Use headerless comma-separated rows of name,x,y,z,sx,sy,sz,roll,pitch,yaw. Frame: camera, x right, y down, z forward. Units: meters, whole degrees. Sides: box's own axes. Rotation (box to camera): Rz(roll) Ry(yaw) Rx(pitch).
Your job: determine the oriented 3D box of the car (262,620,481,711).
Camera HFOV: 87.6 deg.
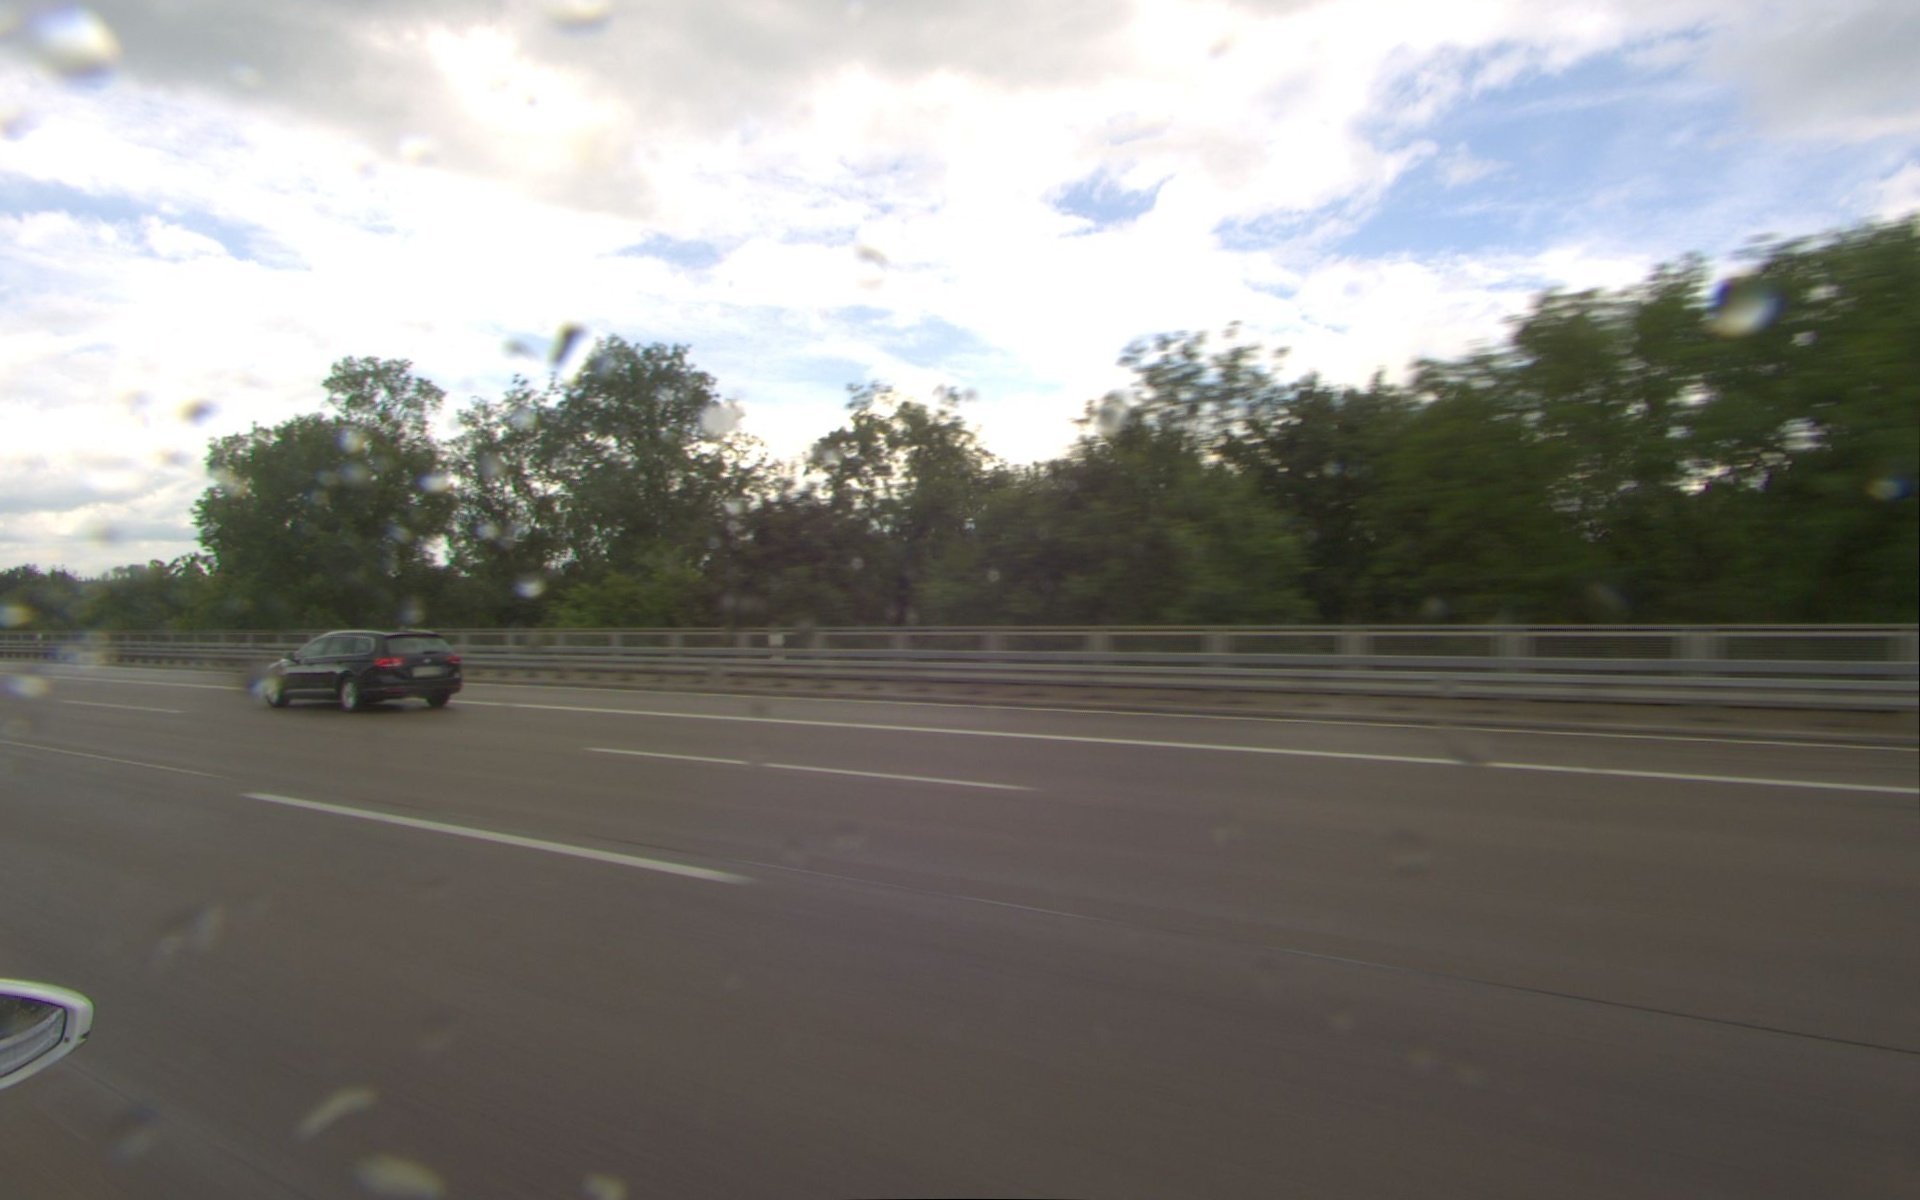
car,-11.308,1.165,19.171,4.294,1.563,1.812,-1,-1,31
